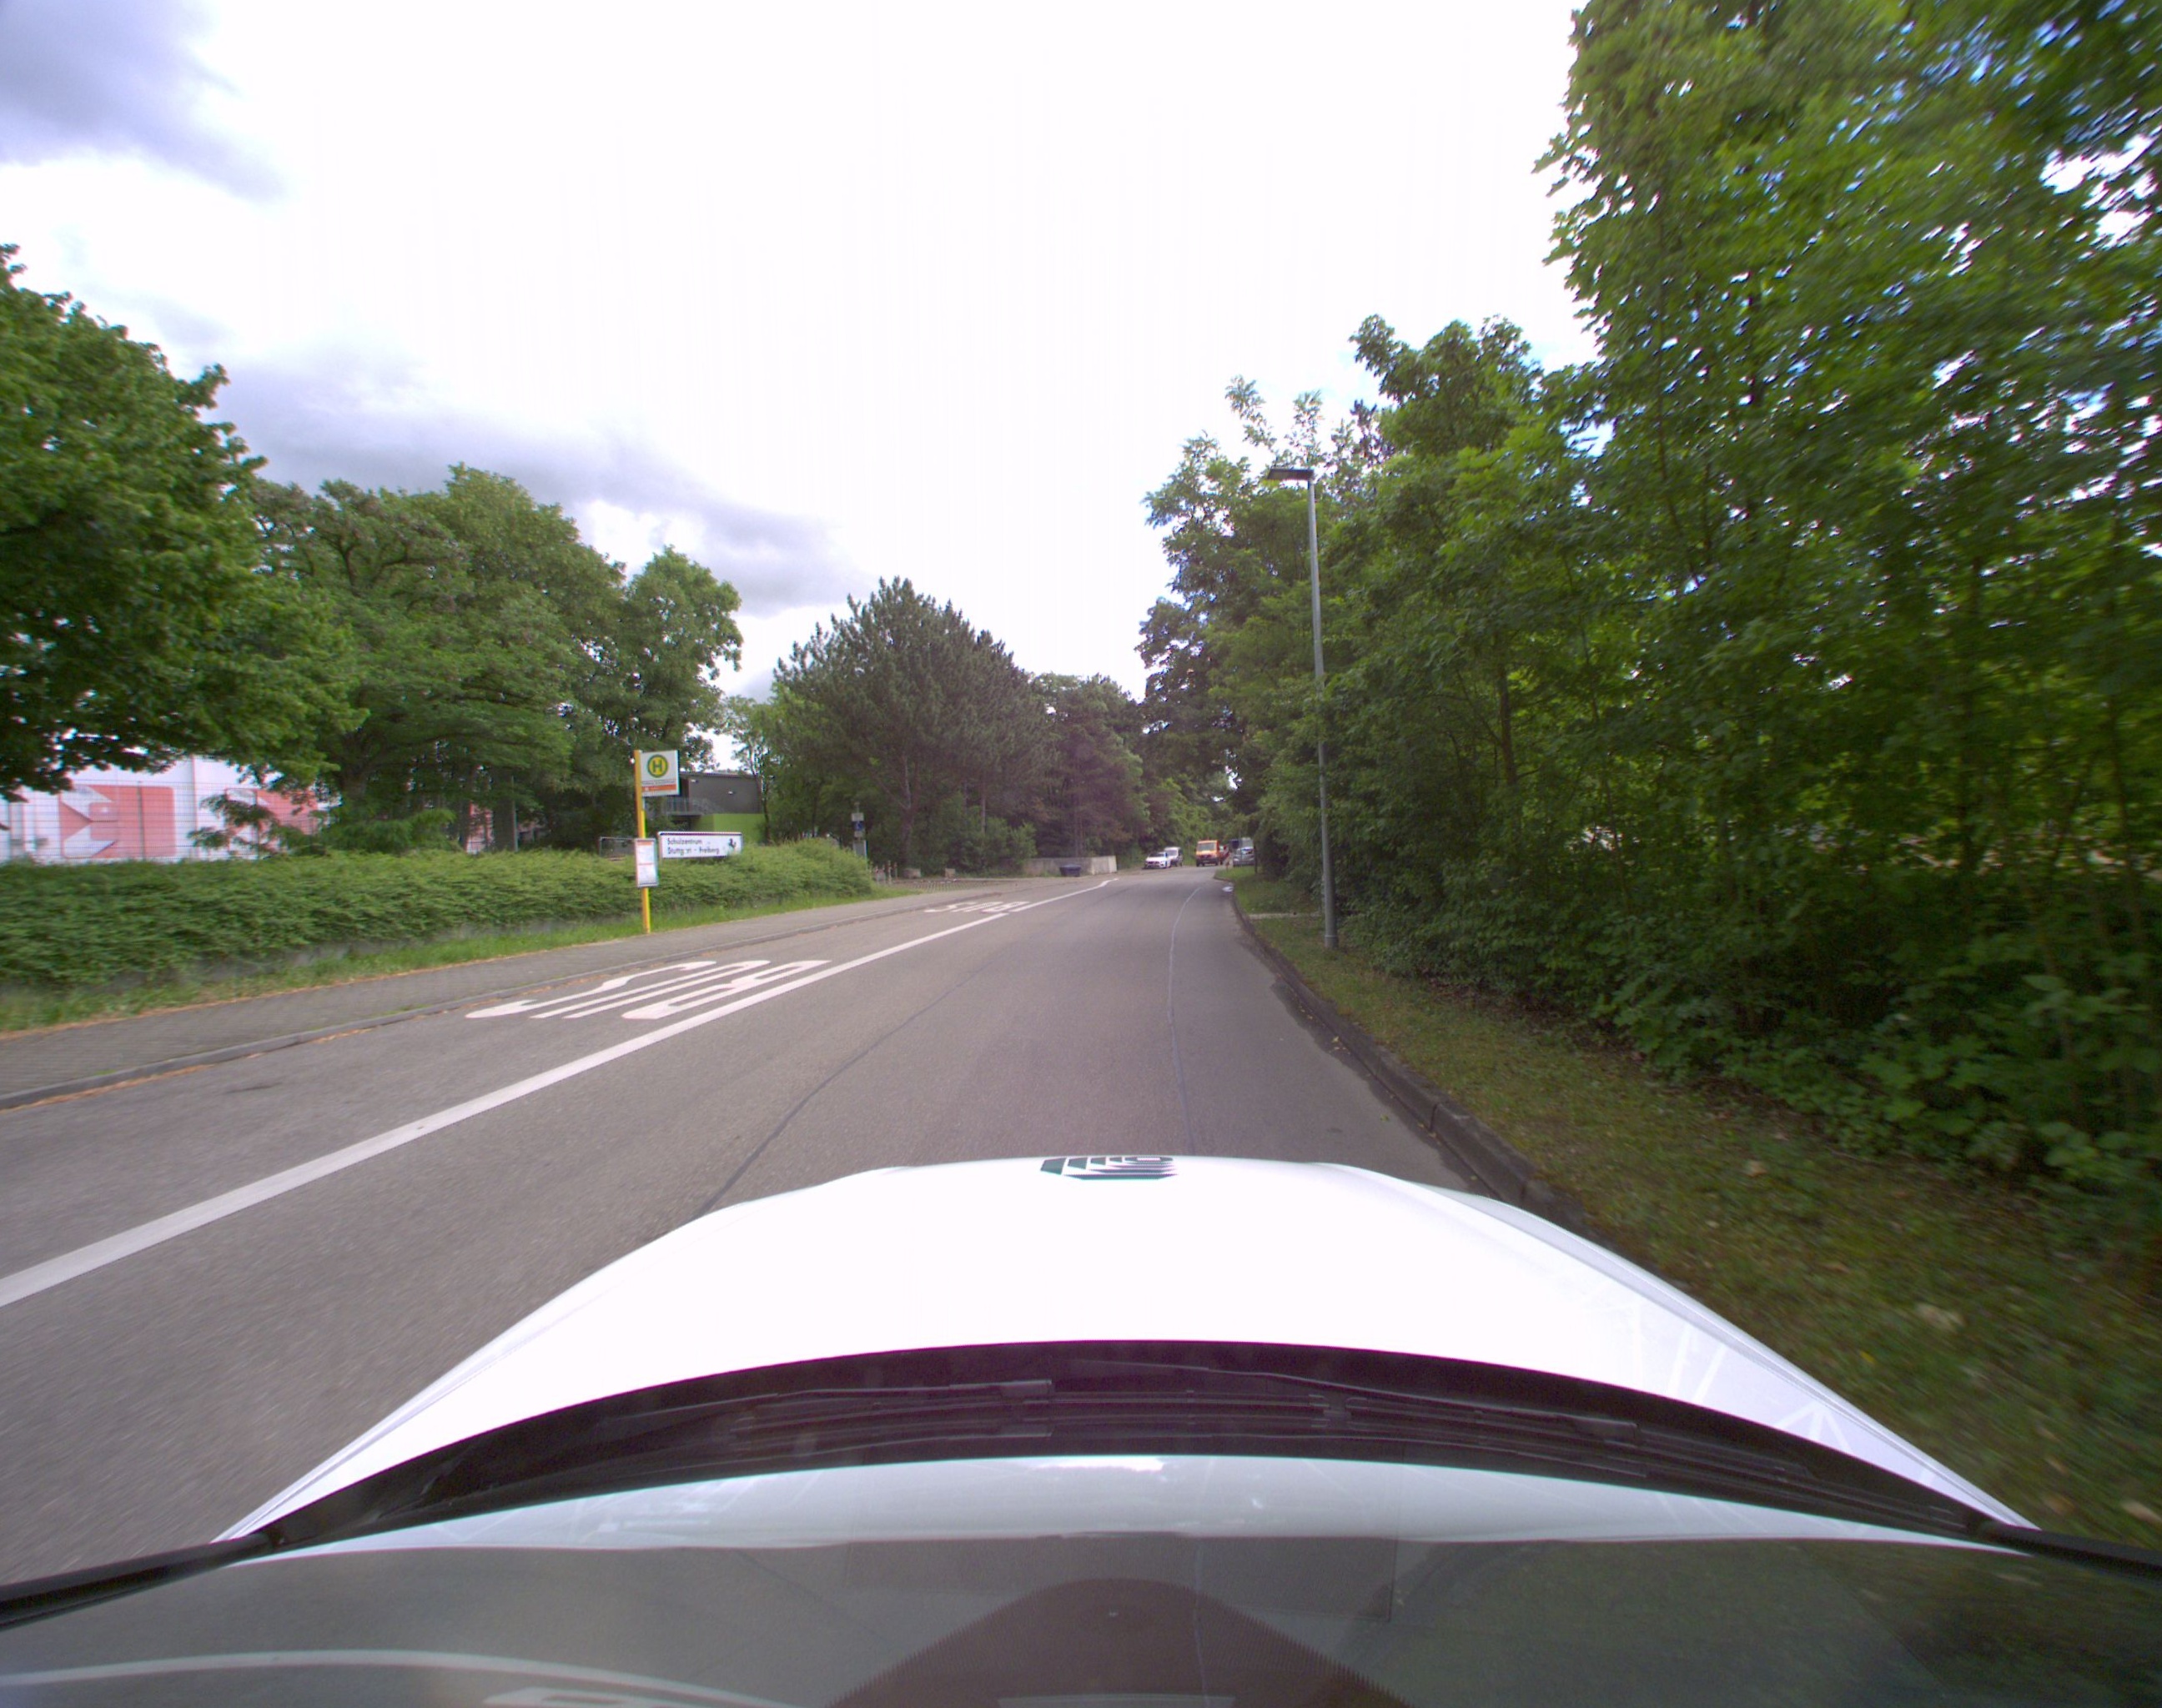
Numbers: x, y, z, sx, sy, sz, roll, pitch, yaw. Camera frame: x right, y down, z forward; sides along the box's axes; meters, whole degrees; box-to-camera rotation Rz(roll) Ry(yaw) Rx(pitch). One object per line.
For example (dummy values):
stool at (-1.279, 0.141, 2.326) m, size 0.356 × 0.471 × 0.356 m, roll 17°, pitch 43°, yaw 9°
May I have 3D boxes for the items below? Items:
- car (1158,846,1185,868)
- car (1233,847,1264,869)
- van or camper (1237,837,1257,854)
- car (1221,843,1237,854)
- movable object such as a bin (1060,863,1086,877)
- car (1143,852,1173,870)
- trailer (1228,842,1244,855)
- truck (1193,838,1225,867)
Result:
car at (8.440, 0.252, 75.504) m, size 1.707 × 1.921 × 4.123 m, roll -1°, pitch 1°, yaw 17°
car at (12.043, 0.248, 58.373) m, size 1.779 × 1.411 × 4.077 m, roll -3°, pitch -1°, yaw 17°
van or camper at (30.060, -1.535, 147.738) m, size 2.471 × 2.876 × 6.896 m, roll -3°, pitch 0°, yaw 3°
car at (29.843, -1.090, 164.410) m, size 1.991 × 2.025 × 3.993 m, roll -6°, pitch 2°, yaw -5°
movable object such as a bin at (-0.437, 0.895, 45.793) m, size 1.148 × 0.760 × 1.041 m, roll 0°, pitch -1°, yaw -22°
car at (6.548, 0.547, 68.952) m, size 1.792 × 1.403 × 4.389 m, roll -1°, pitch 0°, yaw 15°
trailer at (30.151, -1.146, 158.922) m, size 1.990 × 2.398 × 3.994 m, roll -3°, pitch 0°, yaw -5°
truck at (11.714, -0.174, 74.343) m, size 2.305 × 2.470 × 6.044 m, roll -1°, pitch 1°, yaw 14°
